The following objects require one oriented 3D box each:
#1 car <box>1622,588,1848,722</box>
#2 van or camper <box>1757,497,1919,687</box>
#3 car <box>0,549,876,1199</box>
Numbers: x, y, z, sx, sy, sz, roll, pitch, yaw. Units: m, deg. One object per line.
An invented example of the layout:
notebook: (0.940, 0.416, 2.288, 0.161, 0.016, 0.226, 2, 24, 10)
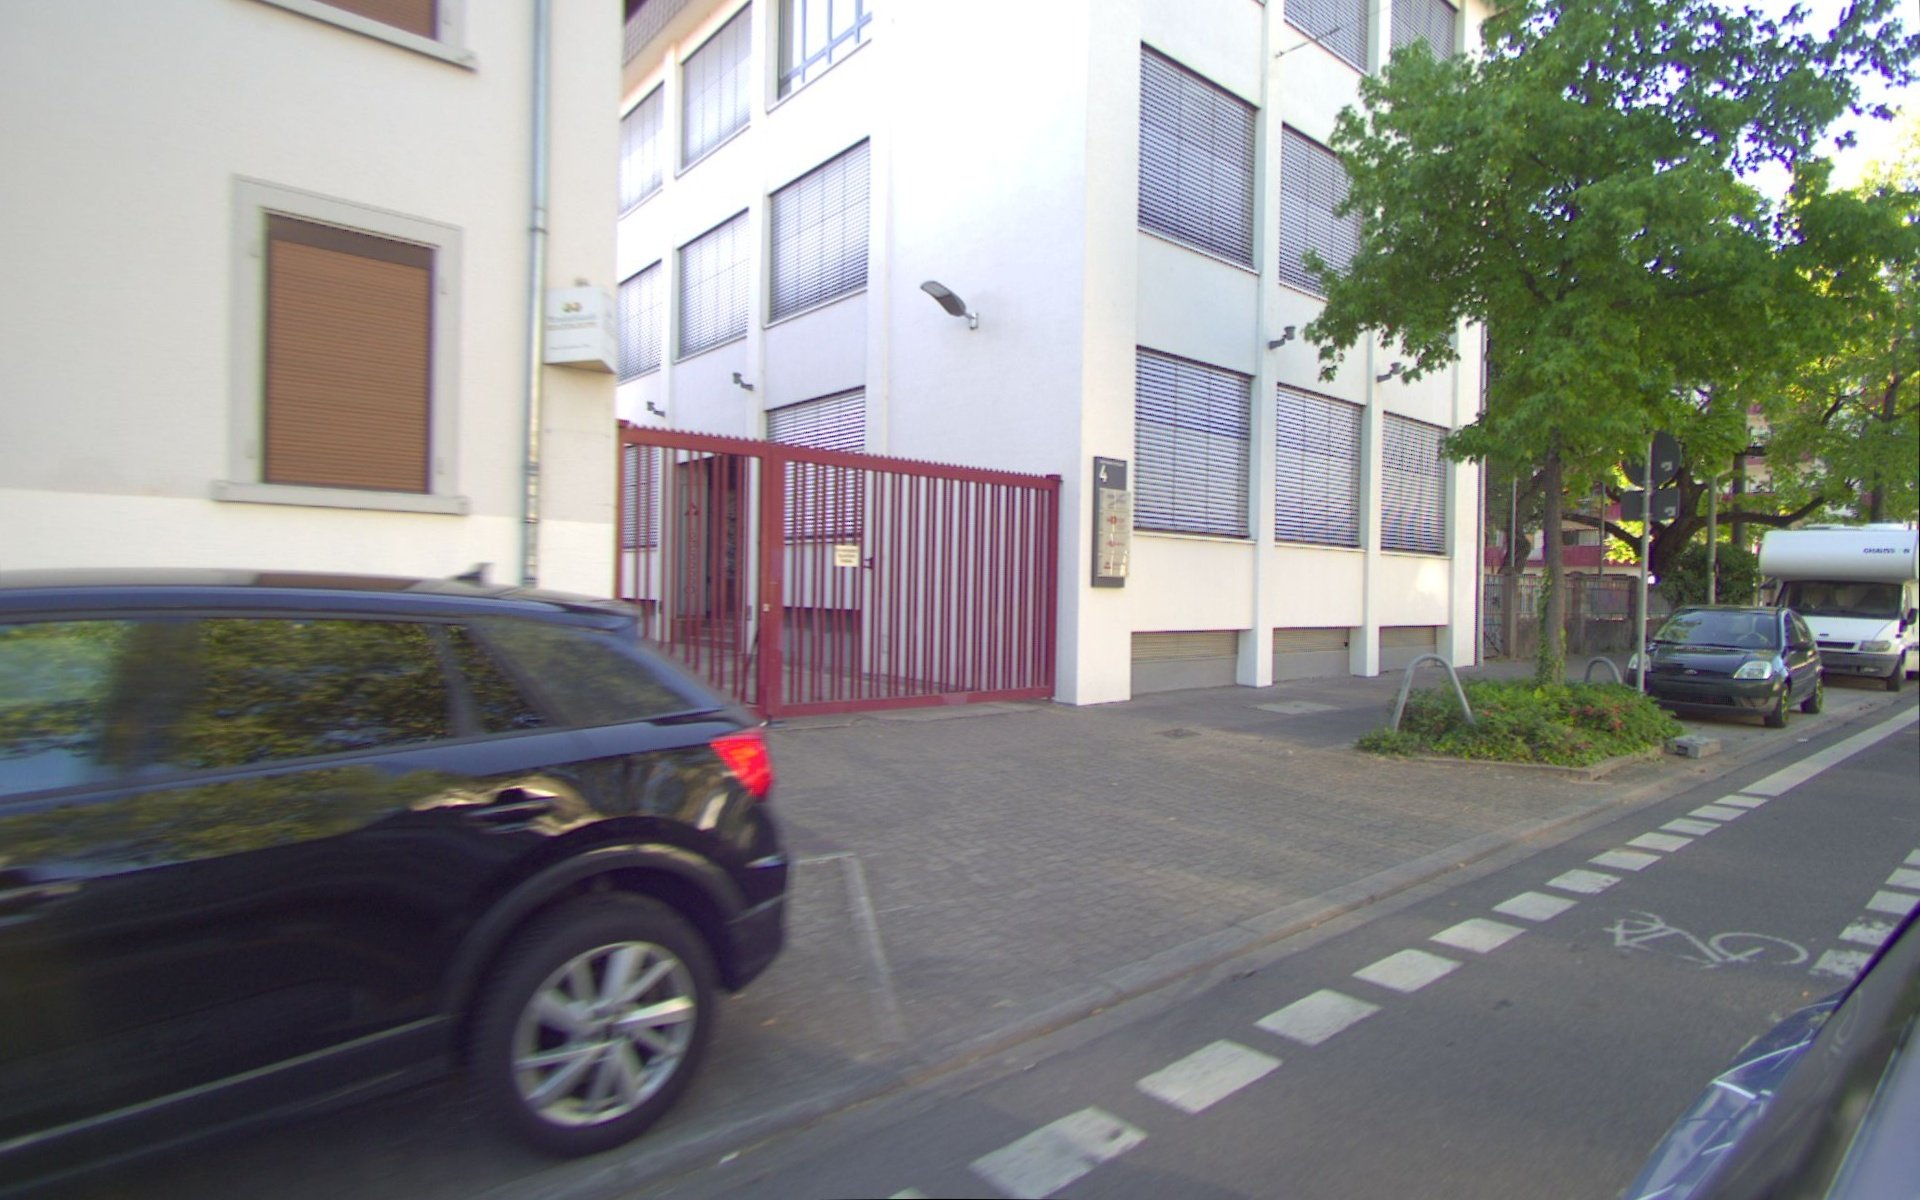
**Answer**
car: (10.305, 0.619, 13.372, 3.735, 1.465, 1.655, 0, 2, -42)
van or camper: (17.894, -0.172, 19.763, 7.160, 3.131, 2.172, 0, 2, -40)
car: (-2.396, 0.625, 2.562, 4.034, 1.502, 1.768, 0, 2, -38)
